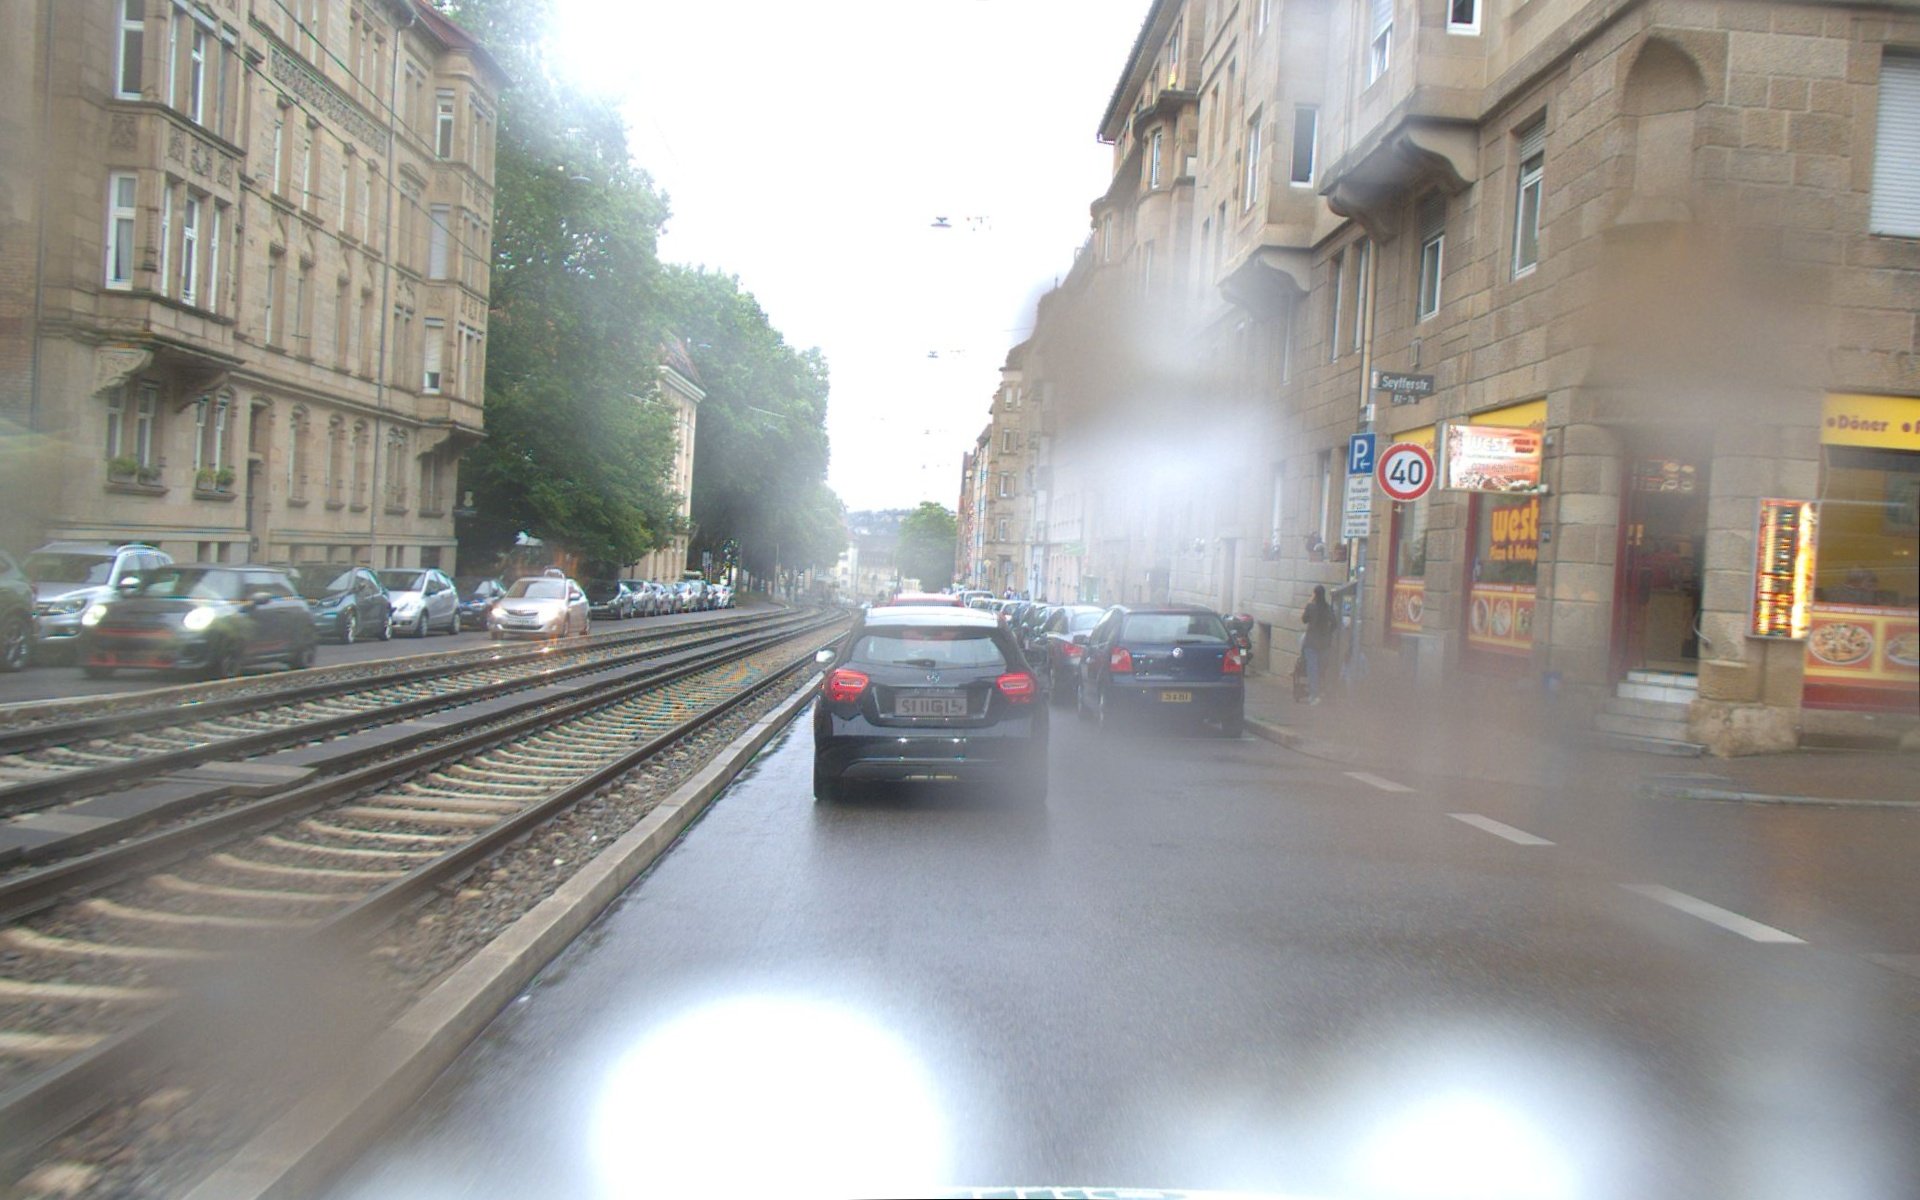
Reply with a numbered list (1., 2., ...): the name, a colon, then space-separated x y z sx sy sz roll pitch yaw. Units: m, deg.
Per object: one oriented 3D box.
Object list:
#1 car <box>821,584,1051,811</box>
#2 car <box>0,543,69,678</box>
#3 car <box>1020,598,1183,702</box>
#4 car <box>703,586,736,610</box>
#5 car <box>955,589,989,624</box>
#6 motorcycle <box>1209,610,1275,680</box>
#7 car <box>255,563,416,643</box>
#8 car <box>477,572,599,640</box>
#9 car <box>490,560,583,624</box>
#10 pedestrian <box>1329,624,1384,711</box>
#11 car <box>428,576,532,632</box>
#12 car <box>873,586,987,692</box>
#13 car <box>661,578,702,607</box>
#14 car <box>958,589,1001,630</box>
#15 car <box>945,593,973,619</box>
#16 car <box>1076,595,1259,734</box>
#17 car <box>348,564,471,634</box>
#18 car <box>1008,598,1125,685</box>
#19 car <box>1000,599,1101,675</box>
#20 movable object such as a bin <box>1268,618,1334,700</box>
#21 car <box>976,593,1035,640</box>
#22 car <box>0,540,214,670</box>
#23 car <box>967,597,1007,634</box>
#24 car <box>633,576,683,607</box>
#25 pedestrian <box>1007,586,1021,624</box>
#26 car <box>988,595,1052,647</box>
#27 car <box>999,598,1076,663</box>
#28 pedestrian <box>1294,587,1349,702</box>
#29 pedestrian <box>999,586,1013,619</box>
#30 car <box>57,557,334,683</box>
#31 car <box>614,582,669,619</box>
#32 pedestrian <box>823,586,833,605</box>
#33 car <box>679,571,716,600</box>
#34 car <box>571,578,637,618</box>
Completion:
1. car: -0.223 0.675 13.336 1.548 1.531 3.573 2 0 -2
2. car: -12.491 0.107 19.220 1.820 1.630 4.430 1 0 0
3. car: 2.035 0.689 25.035 1.720 1.411 4.481 0 0 -5
4. car: -14.596 -0.123 100.593 1.469 1.415 3.987 0 0 0
5. car: 0.640 0.322 90.728 1.791 1.781 4.467 2 0 0
6. motorcycle: 5.333 0.829 31.422 0.691 1.219 2.745 2 0 -1
7. car: -12.933 0.055 34.507 1.833 1.534 4.168 2 0 -2
8. car: -9.949 0.118 39.294 1.942 1.482 4.292 1 0 -3
9. car: -13.189 -0.264 51.758 1.764 1.879 4.817 1 0 -2
10. pedestrian: 5.057 0.853 21.109 0.500 1.068 0.626 2 0 -2
11. car: -12.987 0.093 44.973 1.727 1.422 4.268 1 0 -3
12. car: -0.515 0.612 28.077 1.749 1.608 3.999 2 0 -1
13. car: -13.975 -0.366 83.155 1.508 1.438 3.951 0 0 -2
14. car: 0.878 0.403 75.960 1.755 1.796 4.210 1 0 -2
15. car: -0.067 0.382 106.245 1.659 1.556 3.999 2 0 -1
16. car: 2.364 0.692 19.696 1.637 1.469 3.789 0 0 -1
17. car: -12.995 -0.026 39.285 1.660 1.550 3.854 1 0 -1
18. car: 1.897 0.716 30.585 1.673 1.422 4.016 2 0 -3
19. car: 1.901 0.760 35.872 1.752 1.488 4.081 2 0 -3
20. movable object such as a bin: 4.957 0.852 24.091 0.652 1.122 1.123 3 0 -2
21. car: 1.483 0.528 55.094 1.634 1.459 3.954 1 0 -3
22. car: -12.580 0.047 23.844 1.821 1.681 4.313 1 0 -3
23. car: 1.152 0.644 71.550 1.538 1.487 3.599 2 0 -1
24. car: -14.145 -0.392 77.587 1.719 1.438 4.152 0 0 -2
25. pedestrian: 2.593 0.248 79.839 0.595 1.794 0.688 0 0 -2
26. car: 1.771 0.616 49.702 1.559 1.459 3.681 1 0 -4
27. car: 1.844 0.704 40.212 1.513 1.439 3.444 2 0 -3
28. pedestrian: 5.040 0.610 23.112 0.550 1.562 0.710 2 0 -2
29. pedestrian: 2.641 0.119 94.714 0.730 1.866 1.039 0 0 0
30. car: -9.567 0.224 21.044 1.669 1.412 3.781 2 0 1
31. car: -13.971 0.023 72.755 1.719 1.563 4.541 0 0 -2
32. pedestrian: -11.322 -0.395 141.826 0.789 1.662 0.892 1 0 -1
33. car: -14.213 -0.795 89.662 1.508 1.531 4.152 0 0 -2
34. car: -13.706 -0.093 63.927 1.812 1.489 4.547 0 0 -3
